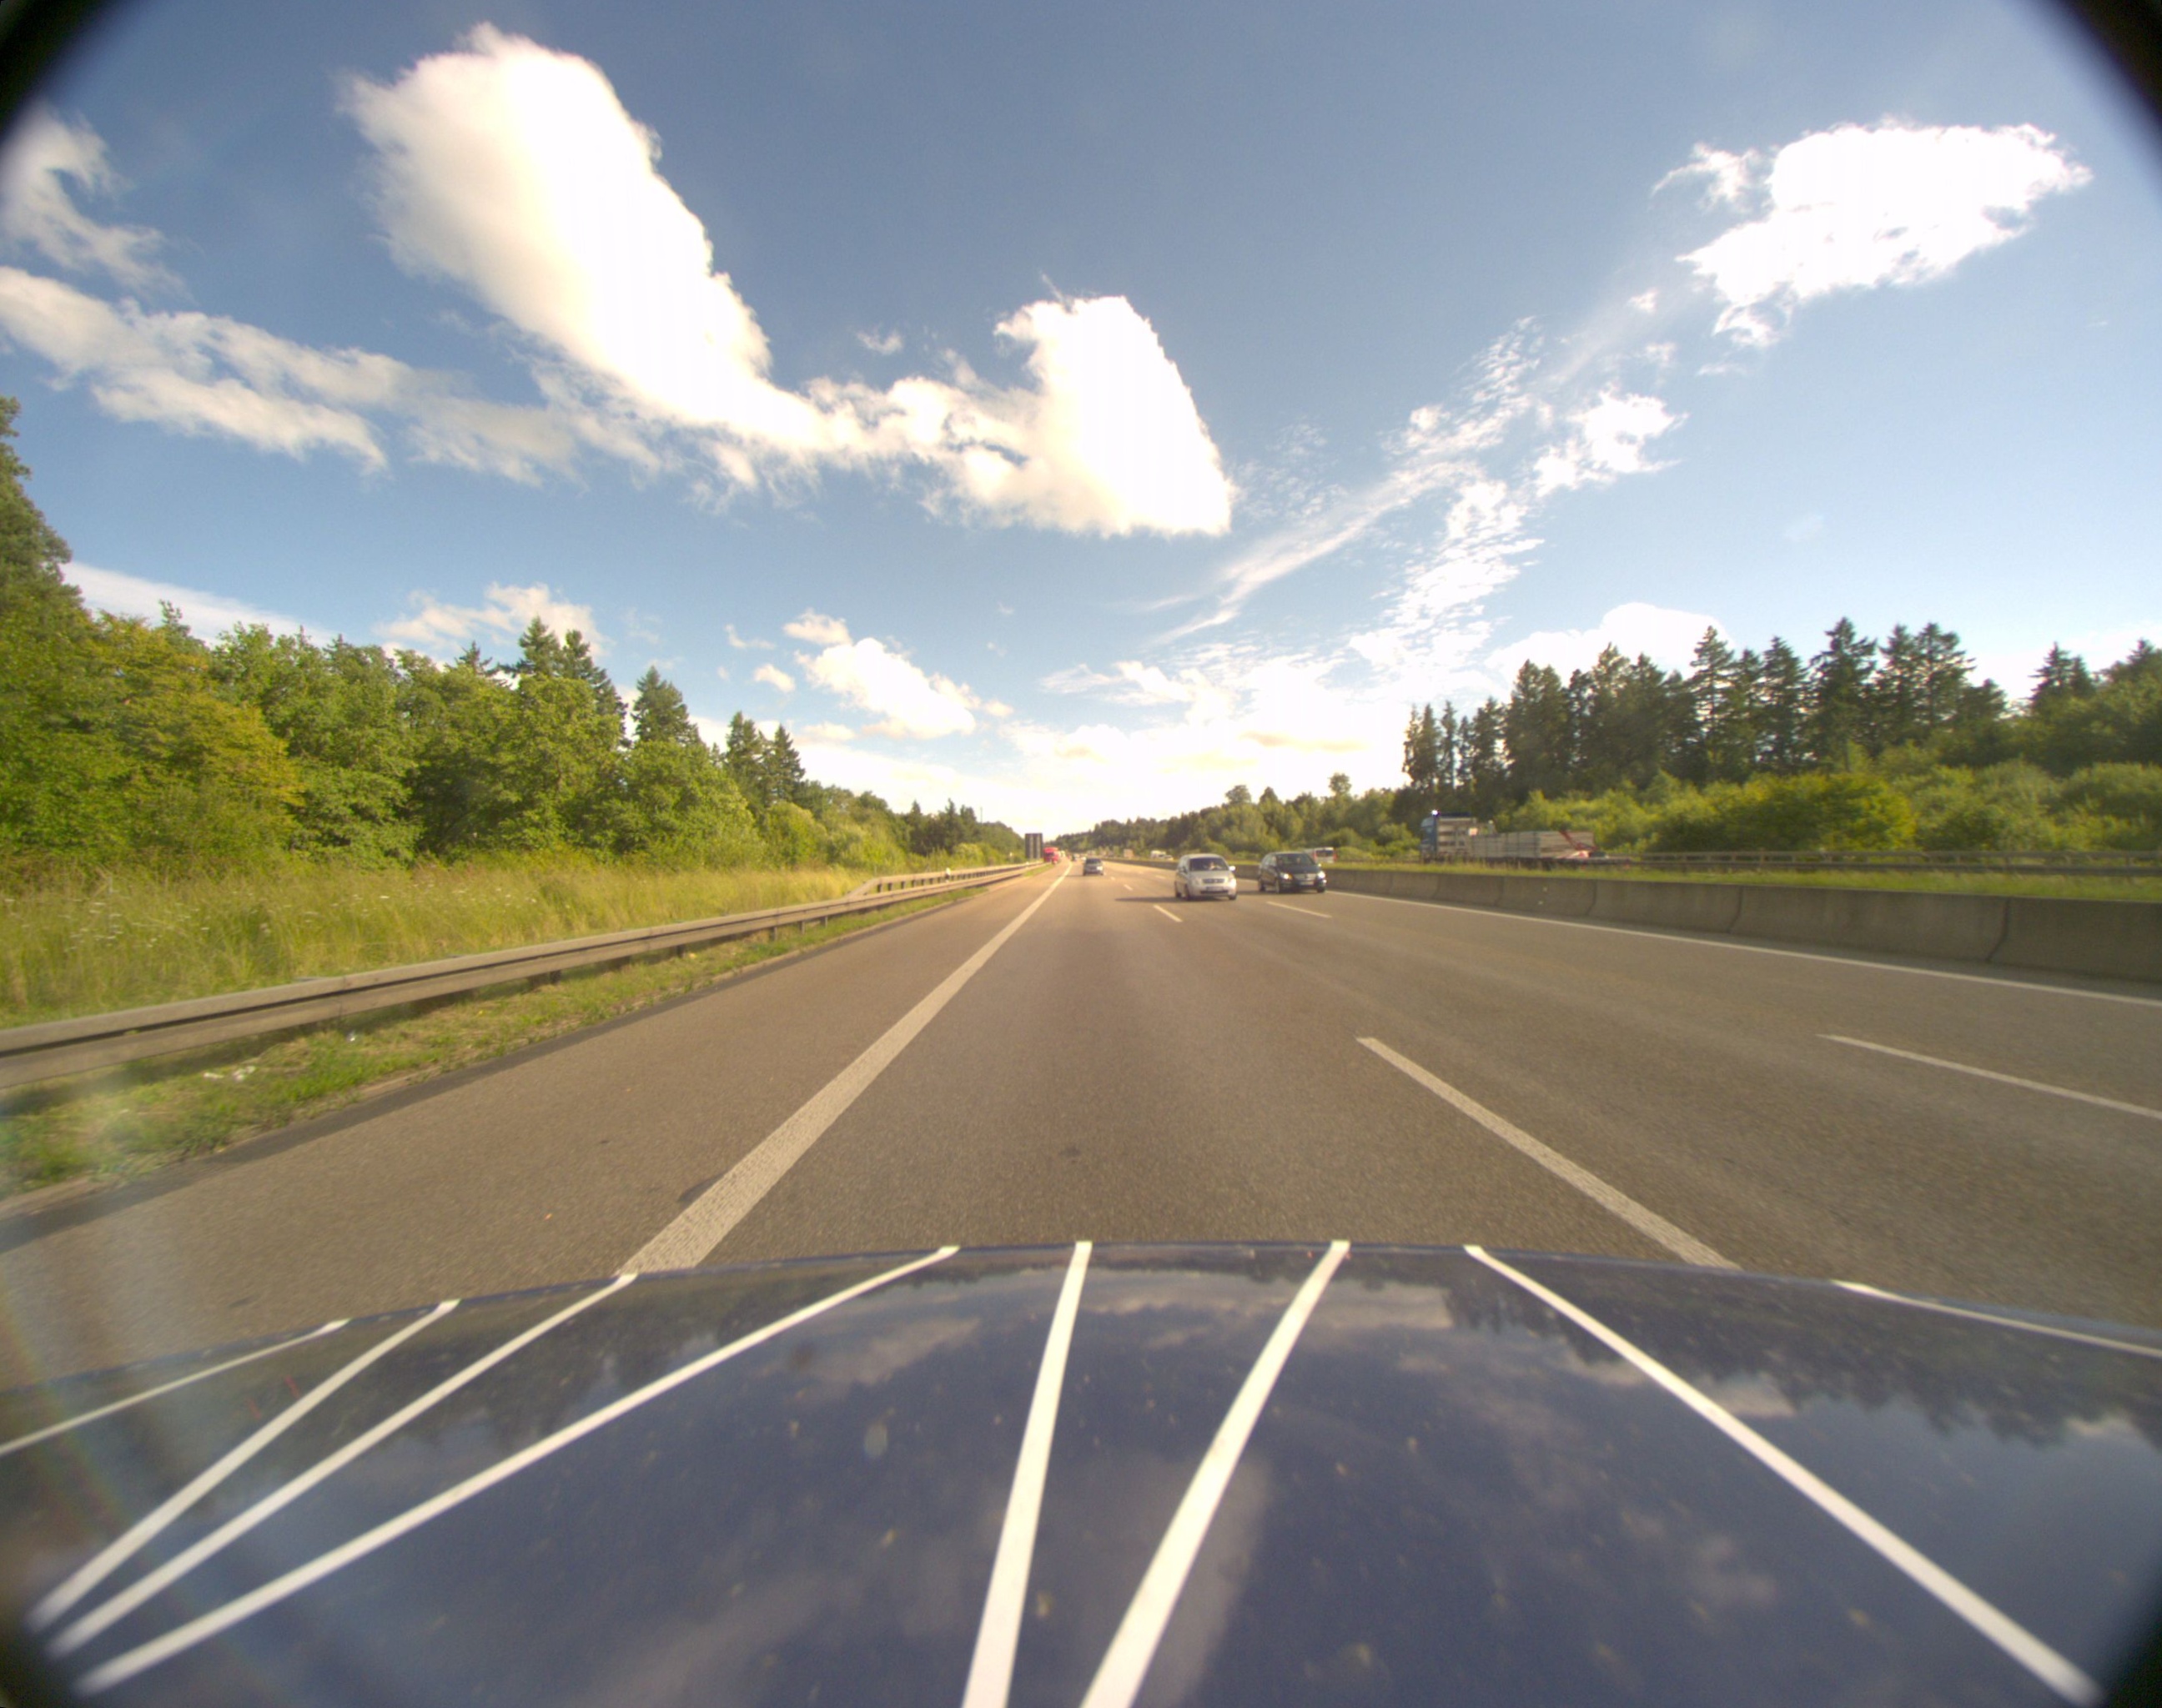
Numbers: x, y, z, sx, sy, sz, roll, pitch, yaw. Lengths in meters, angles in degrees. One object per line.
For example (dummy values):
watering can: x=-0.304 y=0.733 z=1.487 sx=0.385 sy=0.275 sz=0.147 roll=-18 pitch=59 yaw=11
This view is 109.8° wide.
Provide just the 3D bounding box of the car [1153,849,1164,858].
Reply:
car: x=22.841 y=-0.221 z=224.670 sx=2.550 sy=2.461 sz=5.844 roll=-4 pitch=0 yaw=0

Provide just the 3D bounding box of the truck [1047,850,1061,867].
truck: x=-6.468 y=0.938 z=181.804 sx=2.880 sy=3.871 sz=8.958 roll=-2 pitch=0 yaw=0

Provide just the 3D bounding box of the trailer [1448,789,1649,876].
trailer: x=23.980 y=-0.981 z=40.262 sx=3.132 sy=3.815 sz=12.209 roll=-2 pitch=0 yaw=0

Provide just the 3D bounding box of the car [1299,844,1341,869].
car: x=19.851 y=0.208 z=63.351 sx=1.998 sy=2.002 sz=4.859 roll=-2 pitch=0 yaw=1

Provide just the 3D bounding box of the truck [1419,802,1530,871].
truck: x=24.034 y=-1.003 z=46.878 sx=3.122 sy=3.815 sz=7.123 roll=-2 pitch=0 yaw=0

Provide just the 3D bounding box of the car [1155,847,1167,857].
car: x=18.638 y=-0.444 z=176.564 sx=2.102 sy=2.262 sz=5.446 roll=-4 pitch=0 yaw=0

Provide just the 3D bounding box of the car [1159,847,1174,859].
car: x=15.081 y=-0.136 z=134.124 sx=2.102 sy=1.914 sz=5.283 roll=-4 pitch=0 yaw=0

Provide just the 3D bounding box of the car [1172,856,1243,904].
car: x=4.379 y=0.842 z=26.963 sx=1.840 sy=1.508 sz=4.333 roll=-2 pitch=0 yaw=1

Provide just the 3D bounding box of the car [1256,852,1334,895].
car: x=8.241 y=0.713 z=29.680 sx=1.840 sy=1.508 sz=4.333 roll=-2 pitch=0 yaw=1

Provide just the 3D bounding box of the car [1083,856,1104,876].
car: x=1.100 y=1.045 z=66.180 sx=1.742 sy=1.608 sz=4.083 roll=-2 pitch=0 yaw=1

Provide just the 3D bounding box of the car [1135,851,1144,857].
car: x=19.105 y=-0.036 z=247.888 sx=2.325 sy=2.024 sz=5.031 roll=-2 pitch=0 yaw=0
